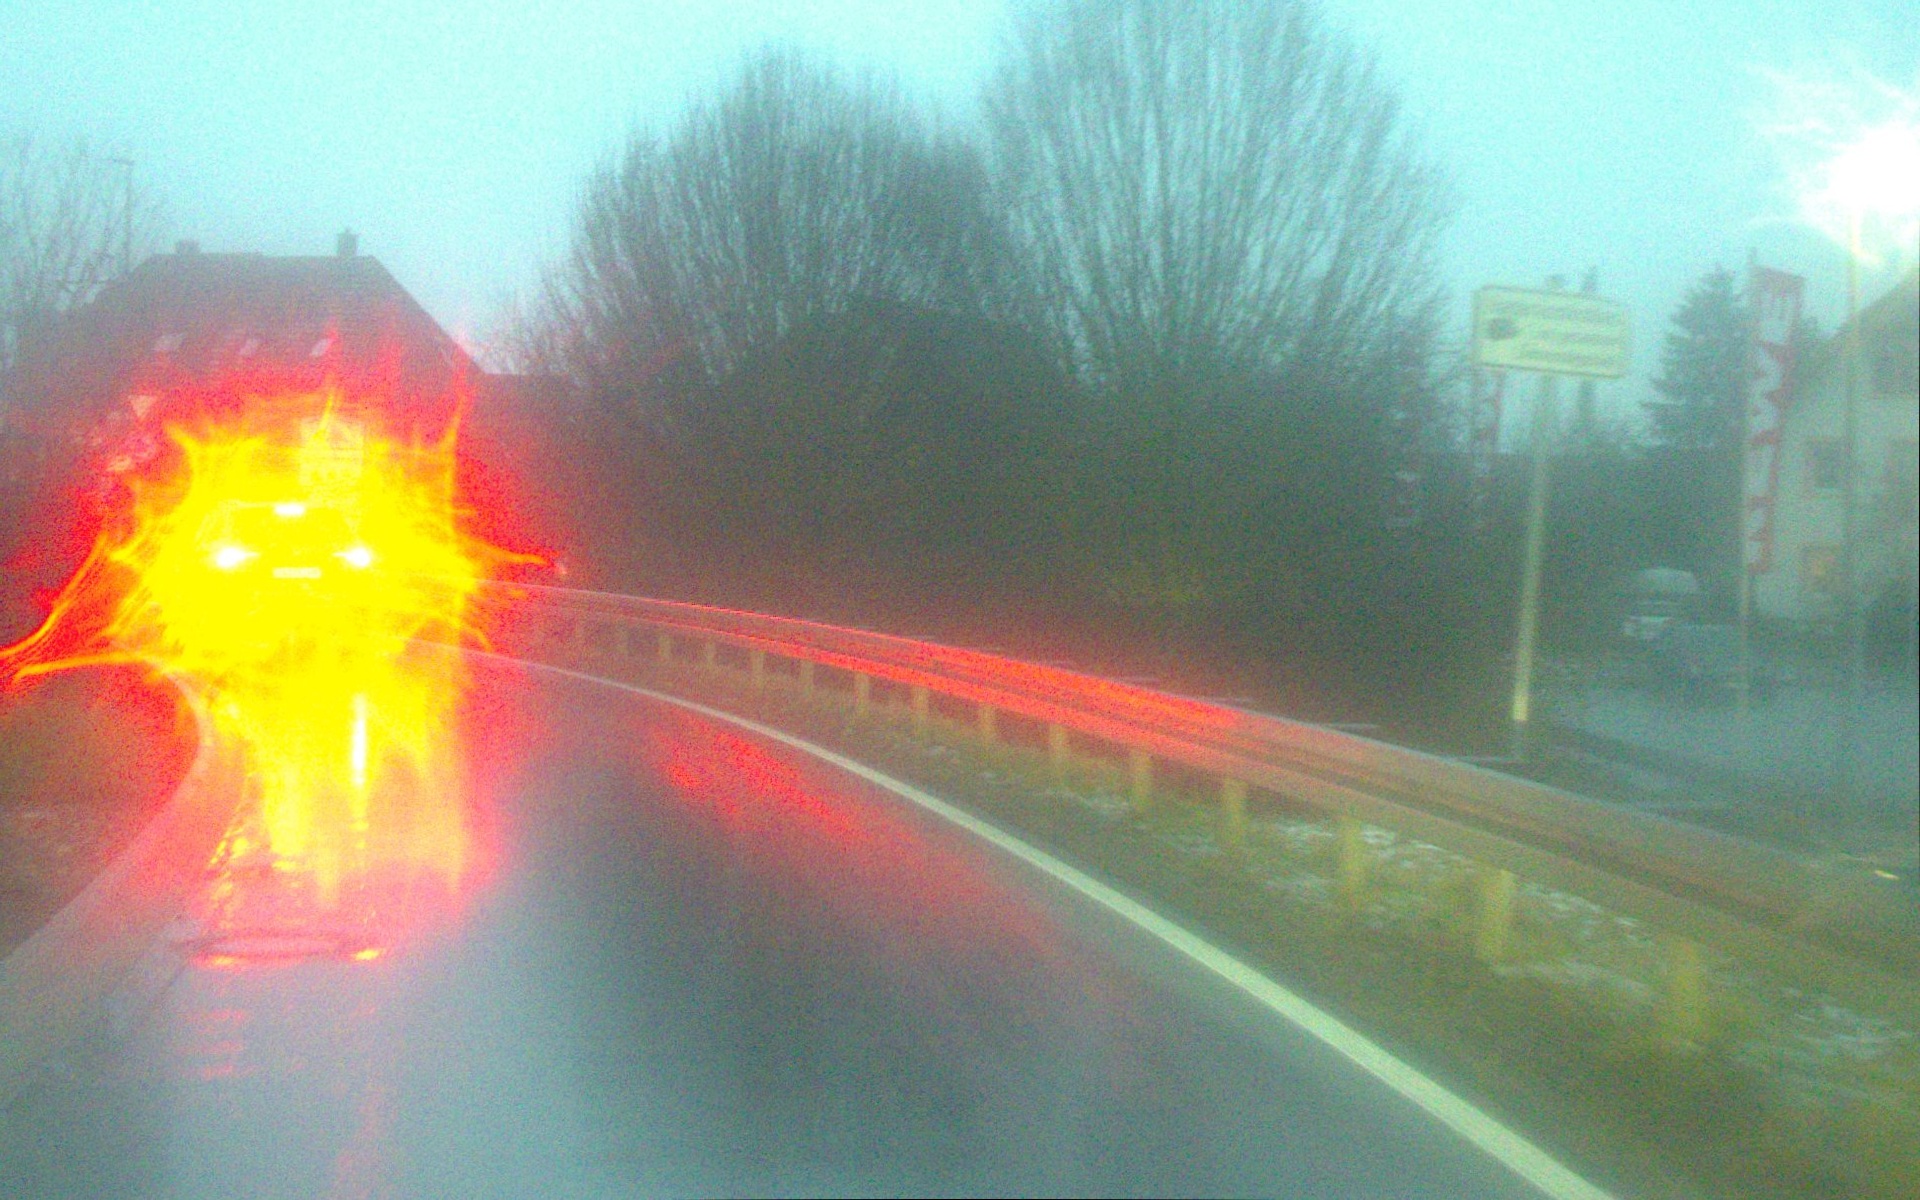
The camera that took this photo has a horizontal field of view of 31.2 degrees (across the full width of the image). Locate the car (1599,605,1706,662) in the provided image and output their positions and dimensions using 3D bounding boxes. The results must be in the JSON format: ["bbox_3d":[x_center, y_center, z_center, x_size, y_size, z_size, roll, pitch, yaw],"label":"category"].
[{"bbox_3d":[19.012,0.910,94.273,1.912,1.481,3.994,1,0,26],"label":"car"}]

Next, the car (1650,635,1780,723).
[{"bbox_3d":[14.610,1.507,66.724,1.937,1.541,3.999,1,1,5],"label":"car"}]

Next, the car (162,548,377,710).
[{"bbox_3d":[-7.962,0.296,39.381,1.944,1.712,4.001,2,0,-18],"label":"car"}]
